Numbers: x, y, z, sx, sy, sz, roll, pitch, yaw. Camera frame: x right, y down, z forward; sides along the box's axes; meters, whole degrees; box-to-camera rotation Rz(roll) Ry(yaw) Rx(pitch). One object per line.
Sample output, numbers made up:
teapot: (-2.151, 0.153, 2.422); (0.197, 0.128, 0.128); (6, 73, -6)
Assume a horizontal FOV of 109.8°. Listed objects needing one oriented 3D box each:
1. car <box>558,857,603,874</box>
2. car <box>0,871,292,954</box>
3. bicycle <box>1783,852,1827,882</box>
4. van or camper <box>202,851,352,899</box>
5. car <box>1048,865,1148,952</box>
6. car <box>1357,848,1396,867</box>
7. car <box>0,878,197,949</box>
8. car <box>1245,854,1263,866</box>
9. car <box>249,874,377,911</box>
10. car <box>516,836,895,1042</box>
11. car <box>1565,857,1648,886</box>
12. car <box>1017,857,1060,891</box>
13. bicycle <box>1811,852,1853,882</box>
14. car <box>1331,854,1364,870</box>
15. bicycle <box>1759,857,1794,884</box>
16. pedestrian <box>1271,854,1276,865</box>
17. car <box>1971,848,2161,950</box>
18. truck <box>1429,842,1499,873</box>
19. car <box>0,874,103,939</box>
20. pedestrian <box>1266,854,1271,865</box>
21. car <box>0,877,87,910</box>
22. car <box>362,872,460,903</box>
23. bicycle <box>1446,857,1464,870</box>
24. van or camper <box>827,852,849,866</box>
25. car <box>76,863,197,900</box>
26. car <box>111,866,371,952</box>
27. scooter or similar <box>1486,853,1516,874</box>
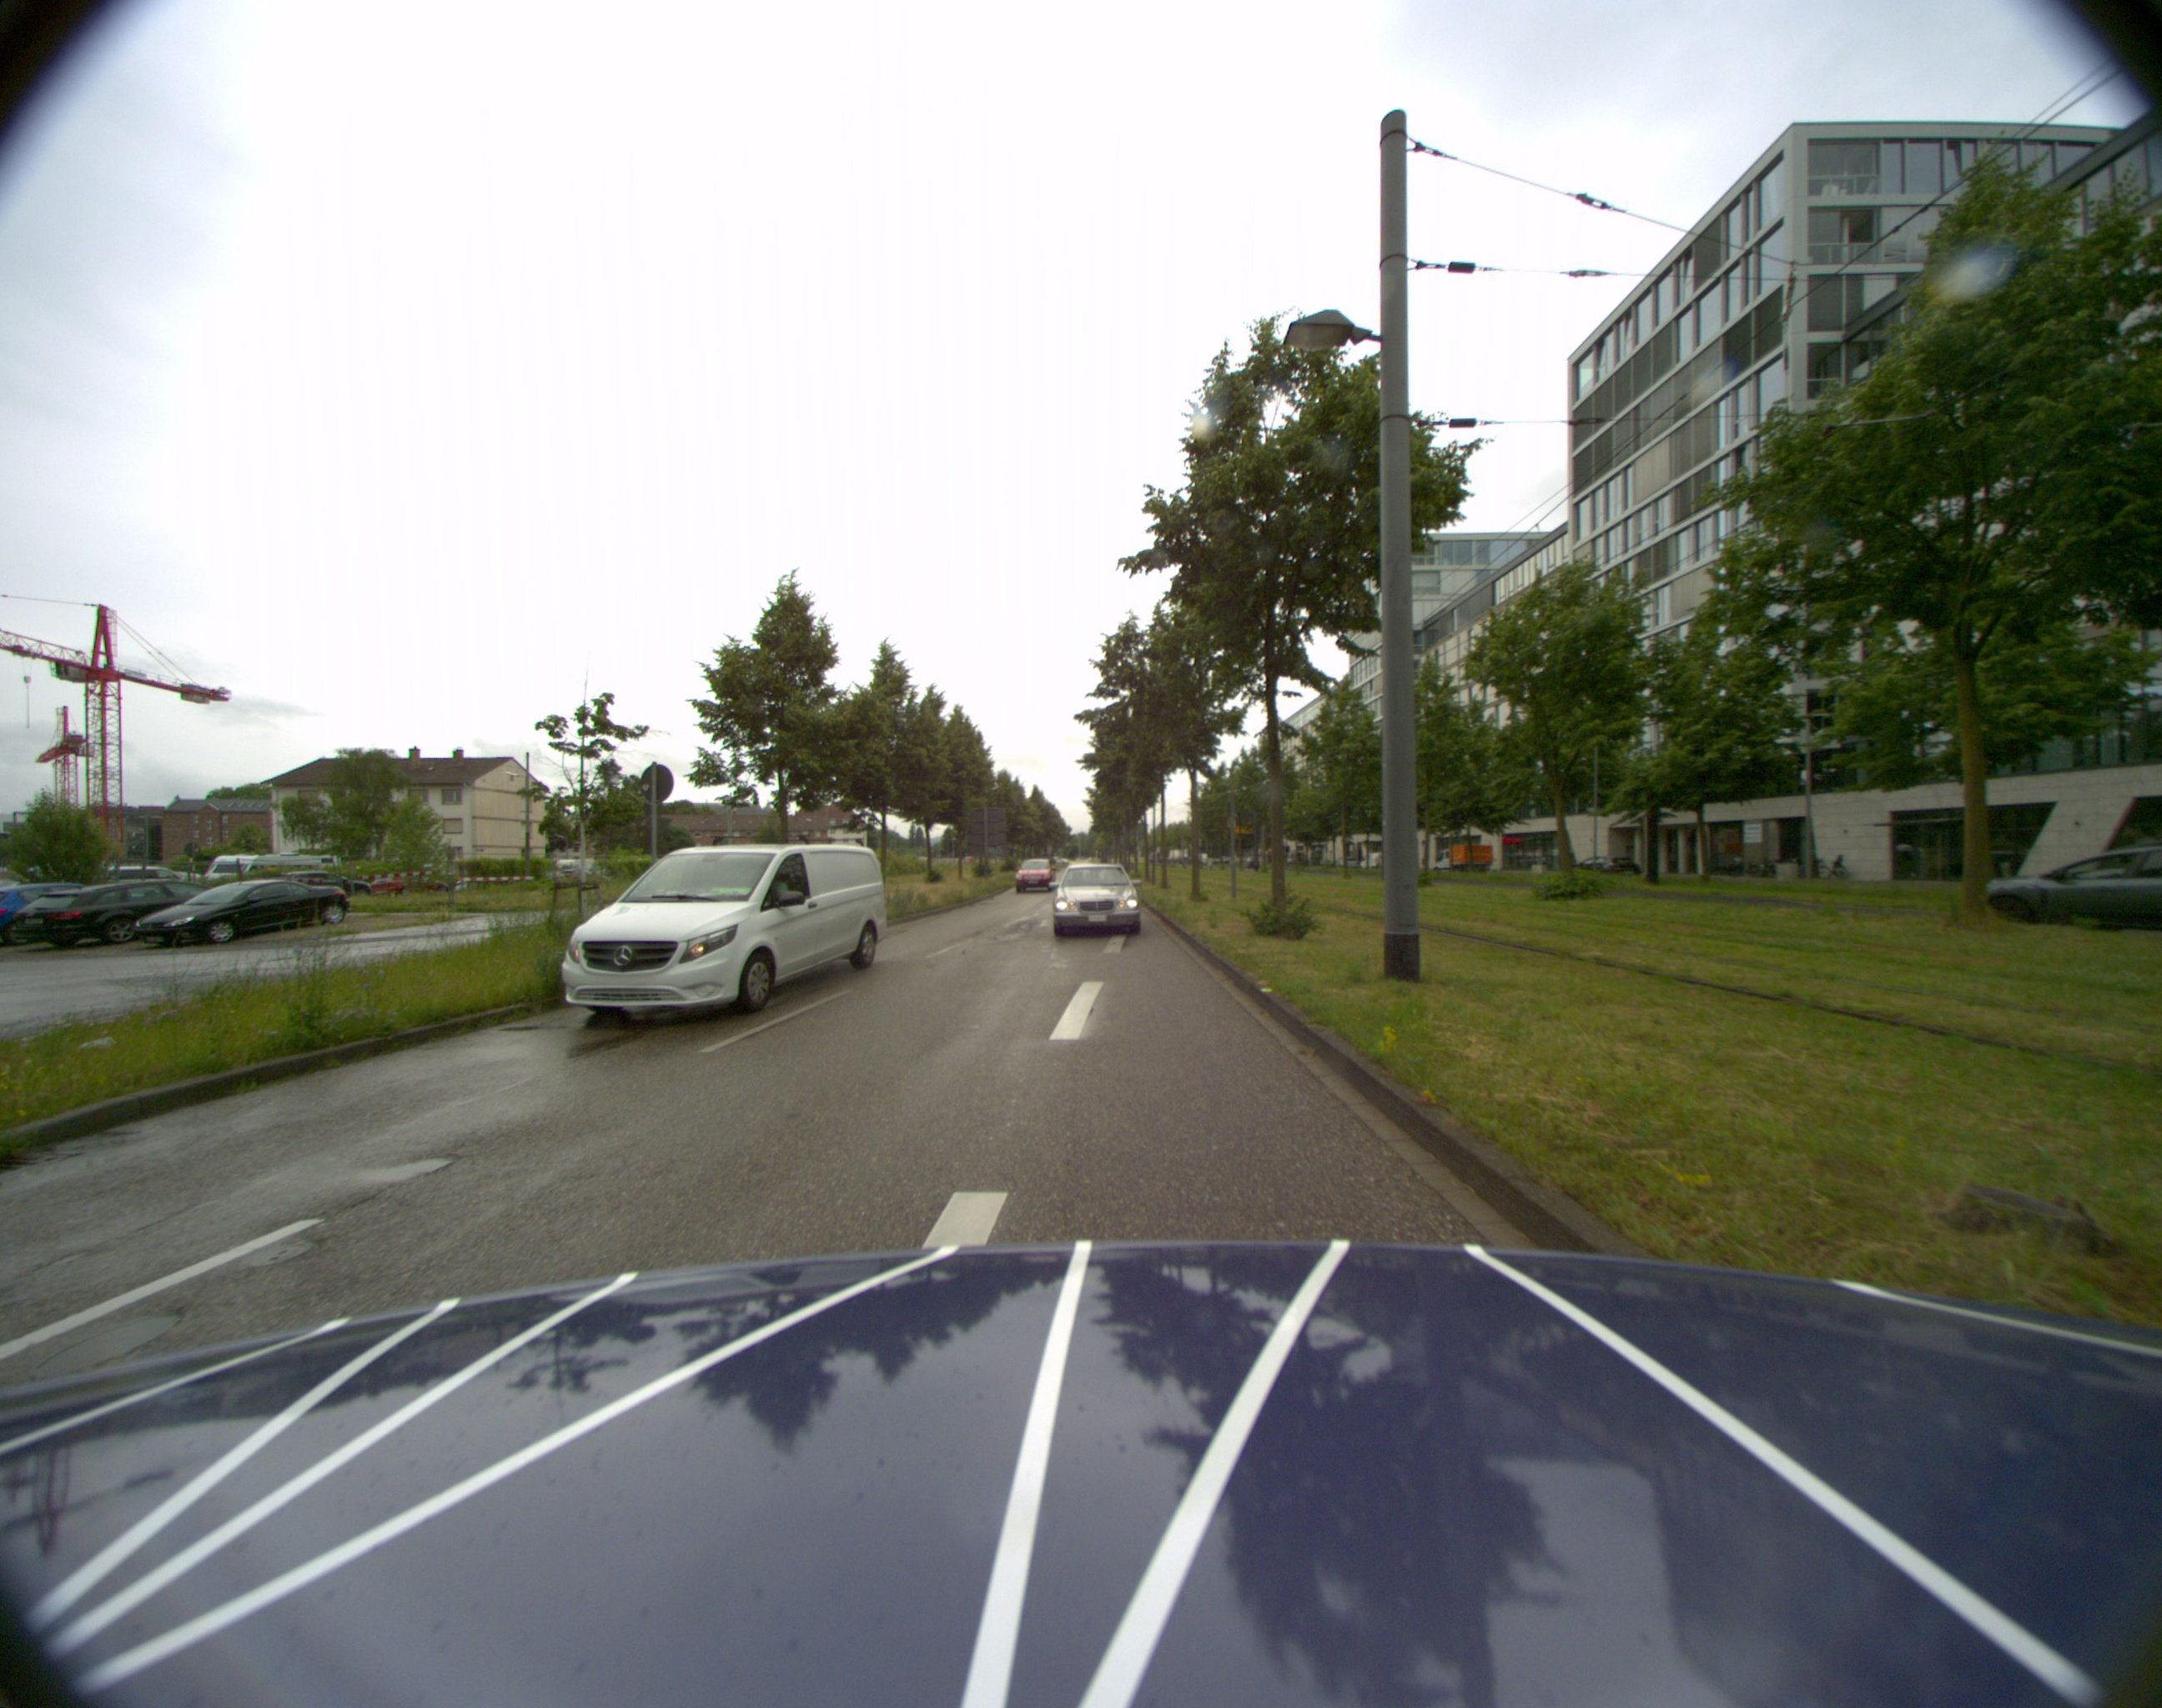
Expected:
car: (-61.191, 1.392, 92.996); (2.168, 1.883, 5.205); (-1, 0, -3)
car: (-24.026, 1.416, 19.769); (1.859, 1.447, 4.555); (-1, 4, 6)
bicycle: (38.569, 0.680, 40.488); (1.707, 1.529, 0.681); (-2, 0, 0)
van or camper: (-54.461, 1.347, 51.774); (2.914, 2.976, 6.777); (-1, 0, 1)
car: (0.311, 1.016, 15.880); (1.738, 1.451, 4.607); (-2, 0, 0)
car: (29.916, 0.371, 77.083); (1.998, 1.841, 5.164); (-1, 0, 0)
car: (-27.108, 1.535, 20.367); (1.859, 1.447, 4.000); (-1, 3, 6)
car: (24.590, 0.824, 108.327); (1.998, 1.647, 3.701); (-1, 0, 5)
car: (-38.486, 1.894, 38.236); (1.859, 1.592, 4.235); (-1, 0, 6)
car: (-4.249, 0.822, 9.847); (1.971, 1.968, 5.093); (-1, 0, 5)
car: (29.144, 0.939, 42.274); (1.859, 1.456, 3.988); (-1, 0, 0)
car: (-2.107, 0.975, 38.917); (1.799, 1.602, 4.246); (-2, 0, 2)
bicycle: (38.819, 0.669, 39.273); (1.571, 1.529, 0.607); (-2, 1, 0)
car: (29.924, 0.849, 85.581); (2.150, 1.702, 4.464); (-1, 0, 0)
bicycle: (38.695, 0.902, 42.303); (1.435, 1.474, 0.546); (-2, 1, 0)
pedestrian: (31.259, 0.911, 123.449); (0.712, 1.681, 0.793); (-1, 0, 3)
car: (17.271, 0.674, 11.728); (1.867, 1.515, 4.479); (-1, 0, 1)
truck: (30.217, 0.261, 60.276); (2.432, 2.278, 6.309); (-1, 0, 1)
car: (-30.338, 1.552, 20.503); (1.859, 1.593, 4.415); (-1, 4, 6)
pedestrian: (30.488, 0.890, 123.532); (0.712, 1.681, 0.793); (-1, 0, 3)
car: (-54.205, 2.009, 38.726); (1.700, 1.572, 4.032); (-1, 0, 2)
car: (-38.644, 1.903, 43.932); (1.859, 1.592, 4.002); (-1, 0, 6)
bicycle: (27.825, 0.732, 56.575); (0.600, 0.939, 1.758); (-1, 0, 4)
van or camper: (-45.134, 0.920, 141.085); (2.208, 2.294, 6.147); (-3, 0, -2)
car: (-54.320, 1.538, 43.820); (1.700, 1.994, 4.165); (-1, 0, 2)
car: (-21.344, 1.319, 19.593); (1.858, 1.573, 3.999); (-2, 5, 8)
scooter or similar: (36.830, 0.812, 66.652); (2.130, 1.814, 0.885); (-1, 0, -3)
